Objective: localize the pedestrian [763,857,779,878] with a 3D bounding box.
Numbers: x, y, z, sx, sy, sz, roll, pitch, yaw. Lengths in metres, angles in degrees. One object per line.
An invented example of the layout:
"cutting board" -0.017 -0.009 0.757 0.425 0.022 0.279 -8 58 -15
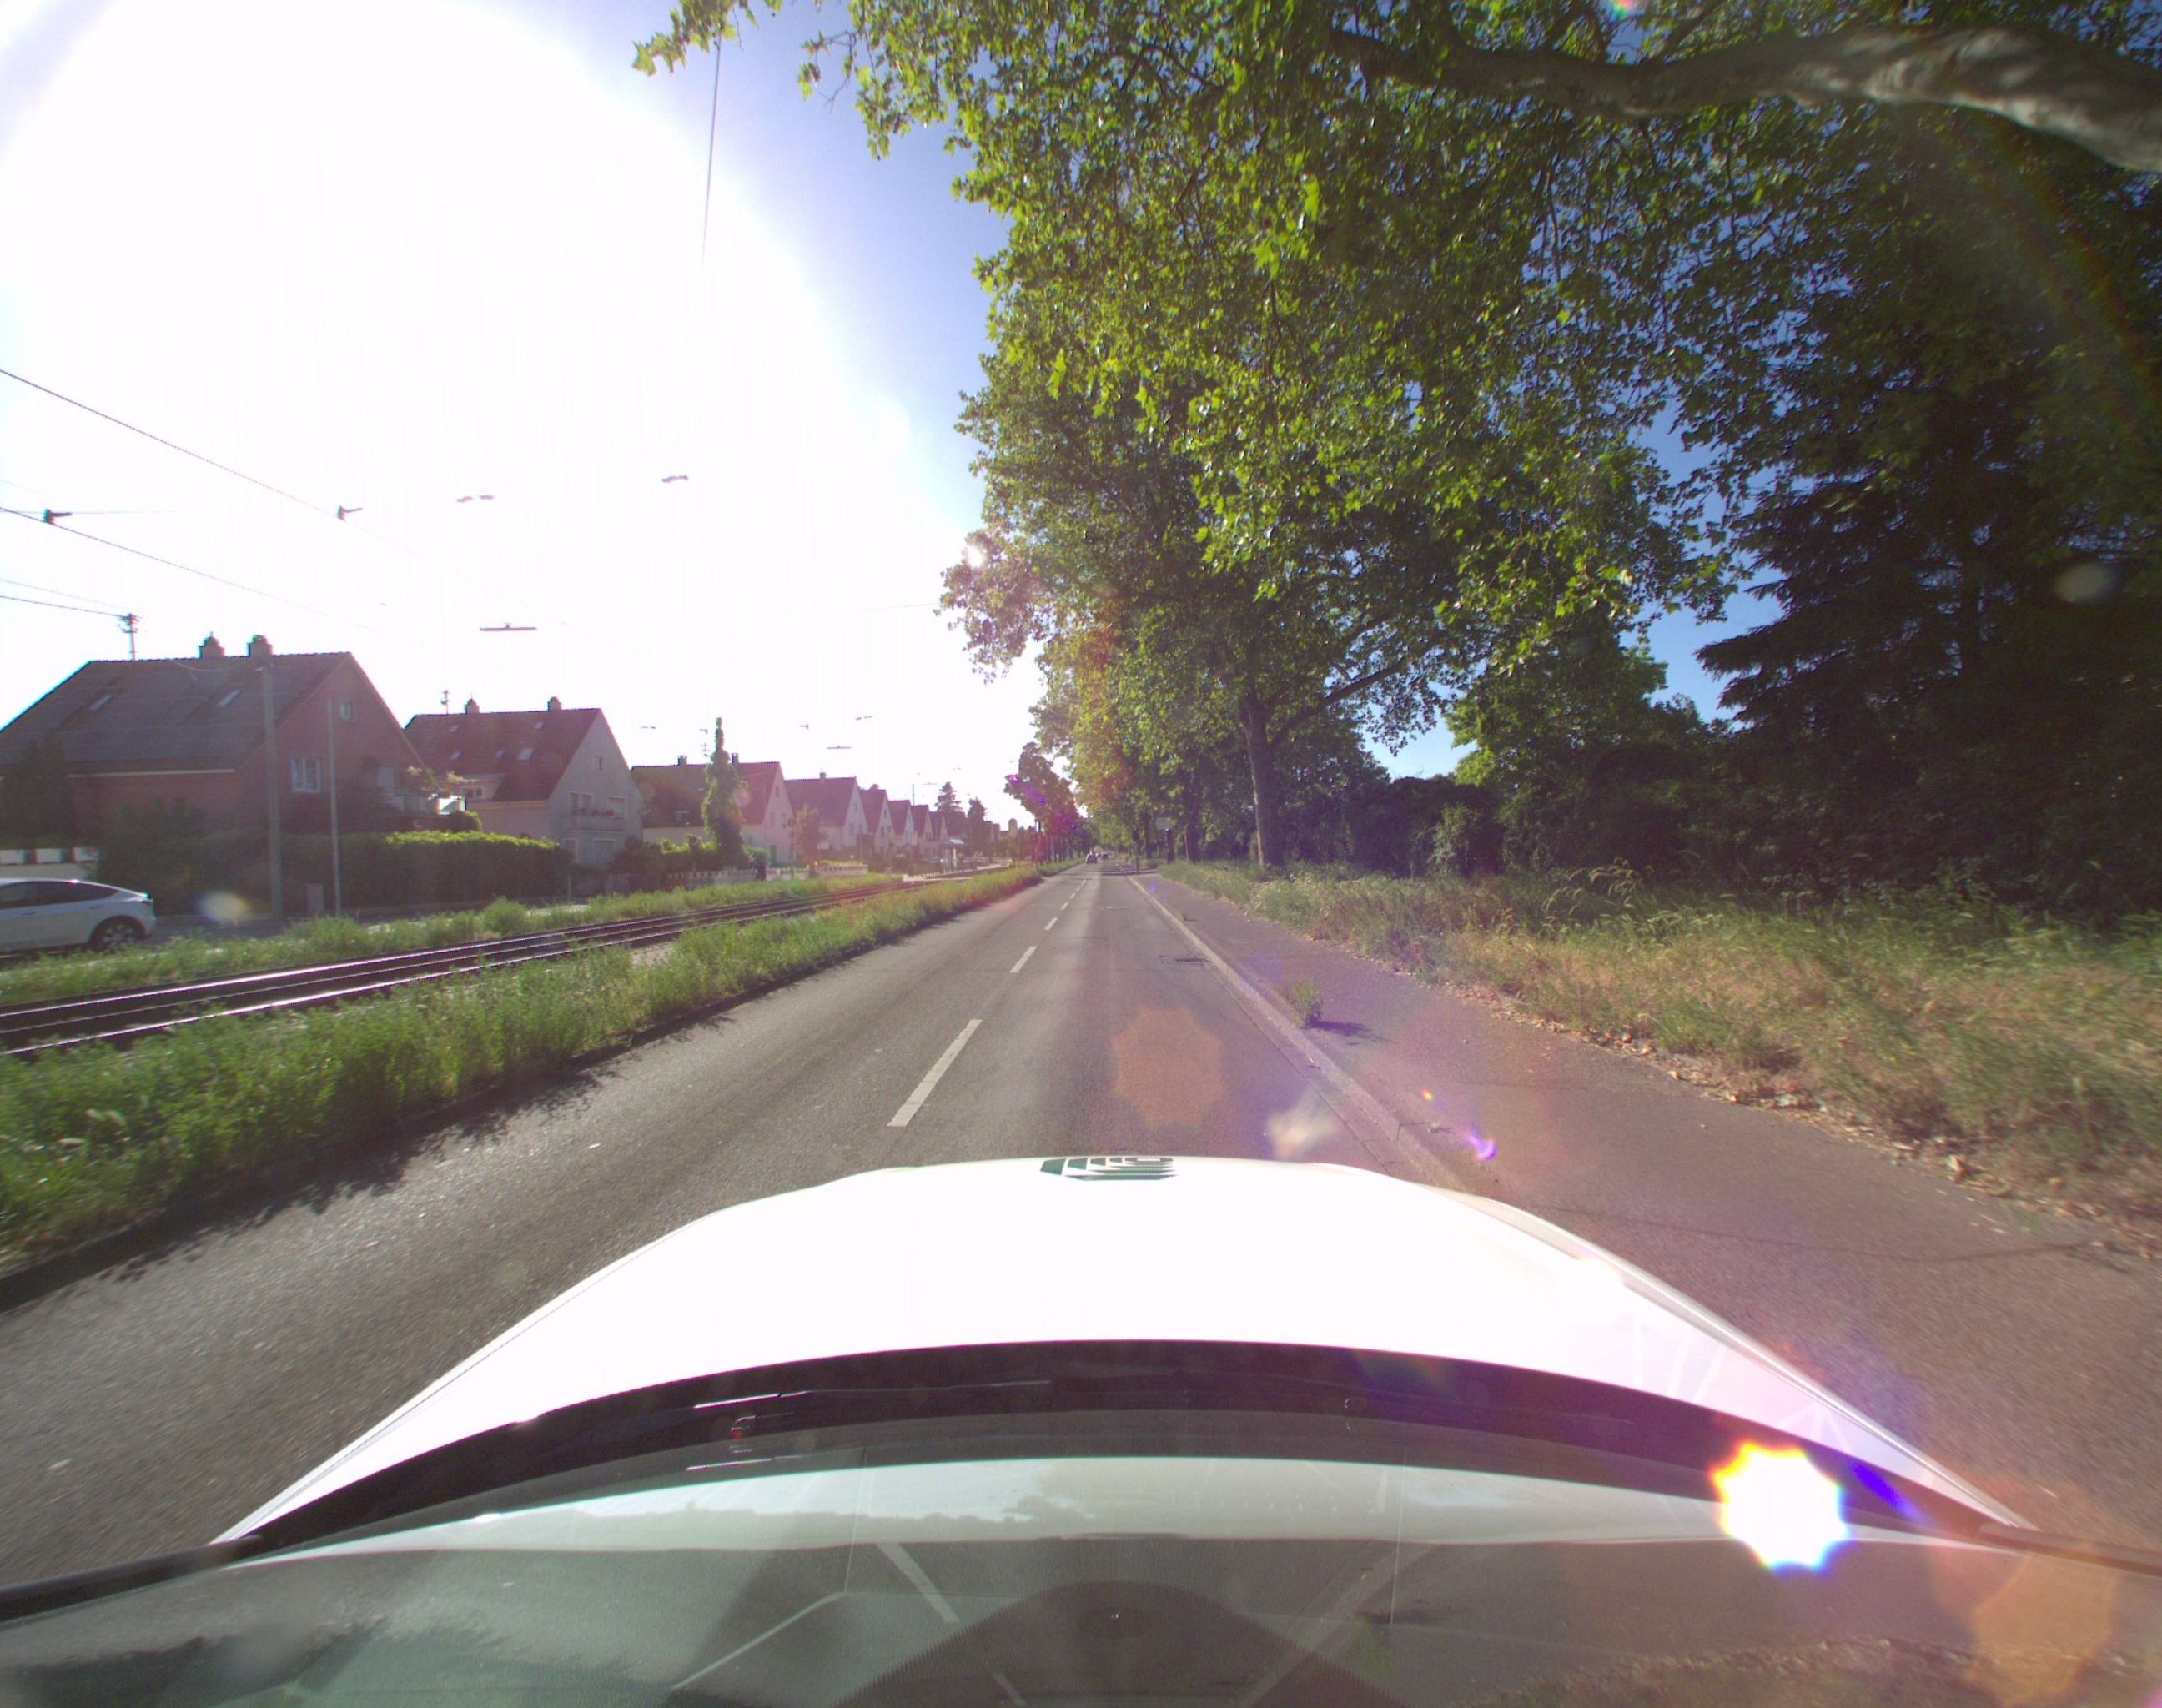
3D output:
"pedestrian" -23.485 0.998 61.713 0.785 1.534 0.817 -1 1 17

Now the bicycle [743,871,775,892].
"bicycle" -18.232 1.563 46.210 0.848 1.134 2.310 0 0 2

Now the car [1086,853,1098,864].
"car" 1.662 0.729 122.324 1.853 1.601 4.229 0 0 1

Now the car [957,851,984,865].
"car" -22.055 0.802 163.012 5.010 2.625 2.103 -2 0 1

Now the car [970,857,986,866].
"car" -17.329 1.294 137.220 1.986 1.450 4.129 2 0 1

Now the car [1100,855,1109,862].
"car" 5.478 0.956 192.249 1.986 1.603 4.474 0 0 1

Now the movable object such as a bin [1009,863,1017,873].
"movable object such as a bin" -3.960 0.821 47.388 0.384 0.582 0.380 -1 -1 10

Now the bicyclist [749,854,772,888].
"bicyclist" -18.233 0.967 46.283 0.848 1.887 1.072 0 -1 2

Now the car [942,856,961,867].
"car" -18.168 1.039 114.374 1.919 1.495 4.257 0 0 2

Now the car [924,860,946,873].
"car" -18.683 1.591 104.491 1.986 1.713 4.392 0 0 2

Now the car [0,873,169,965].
"car" -21.212 1.252 15.569 1.986 1.678 4.841 0 0 2

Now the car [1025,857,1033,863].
"car" -14.497 1.598 225.577 1.853 1.542 4.229 0 0 1
